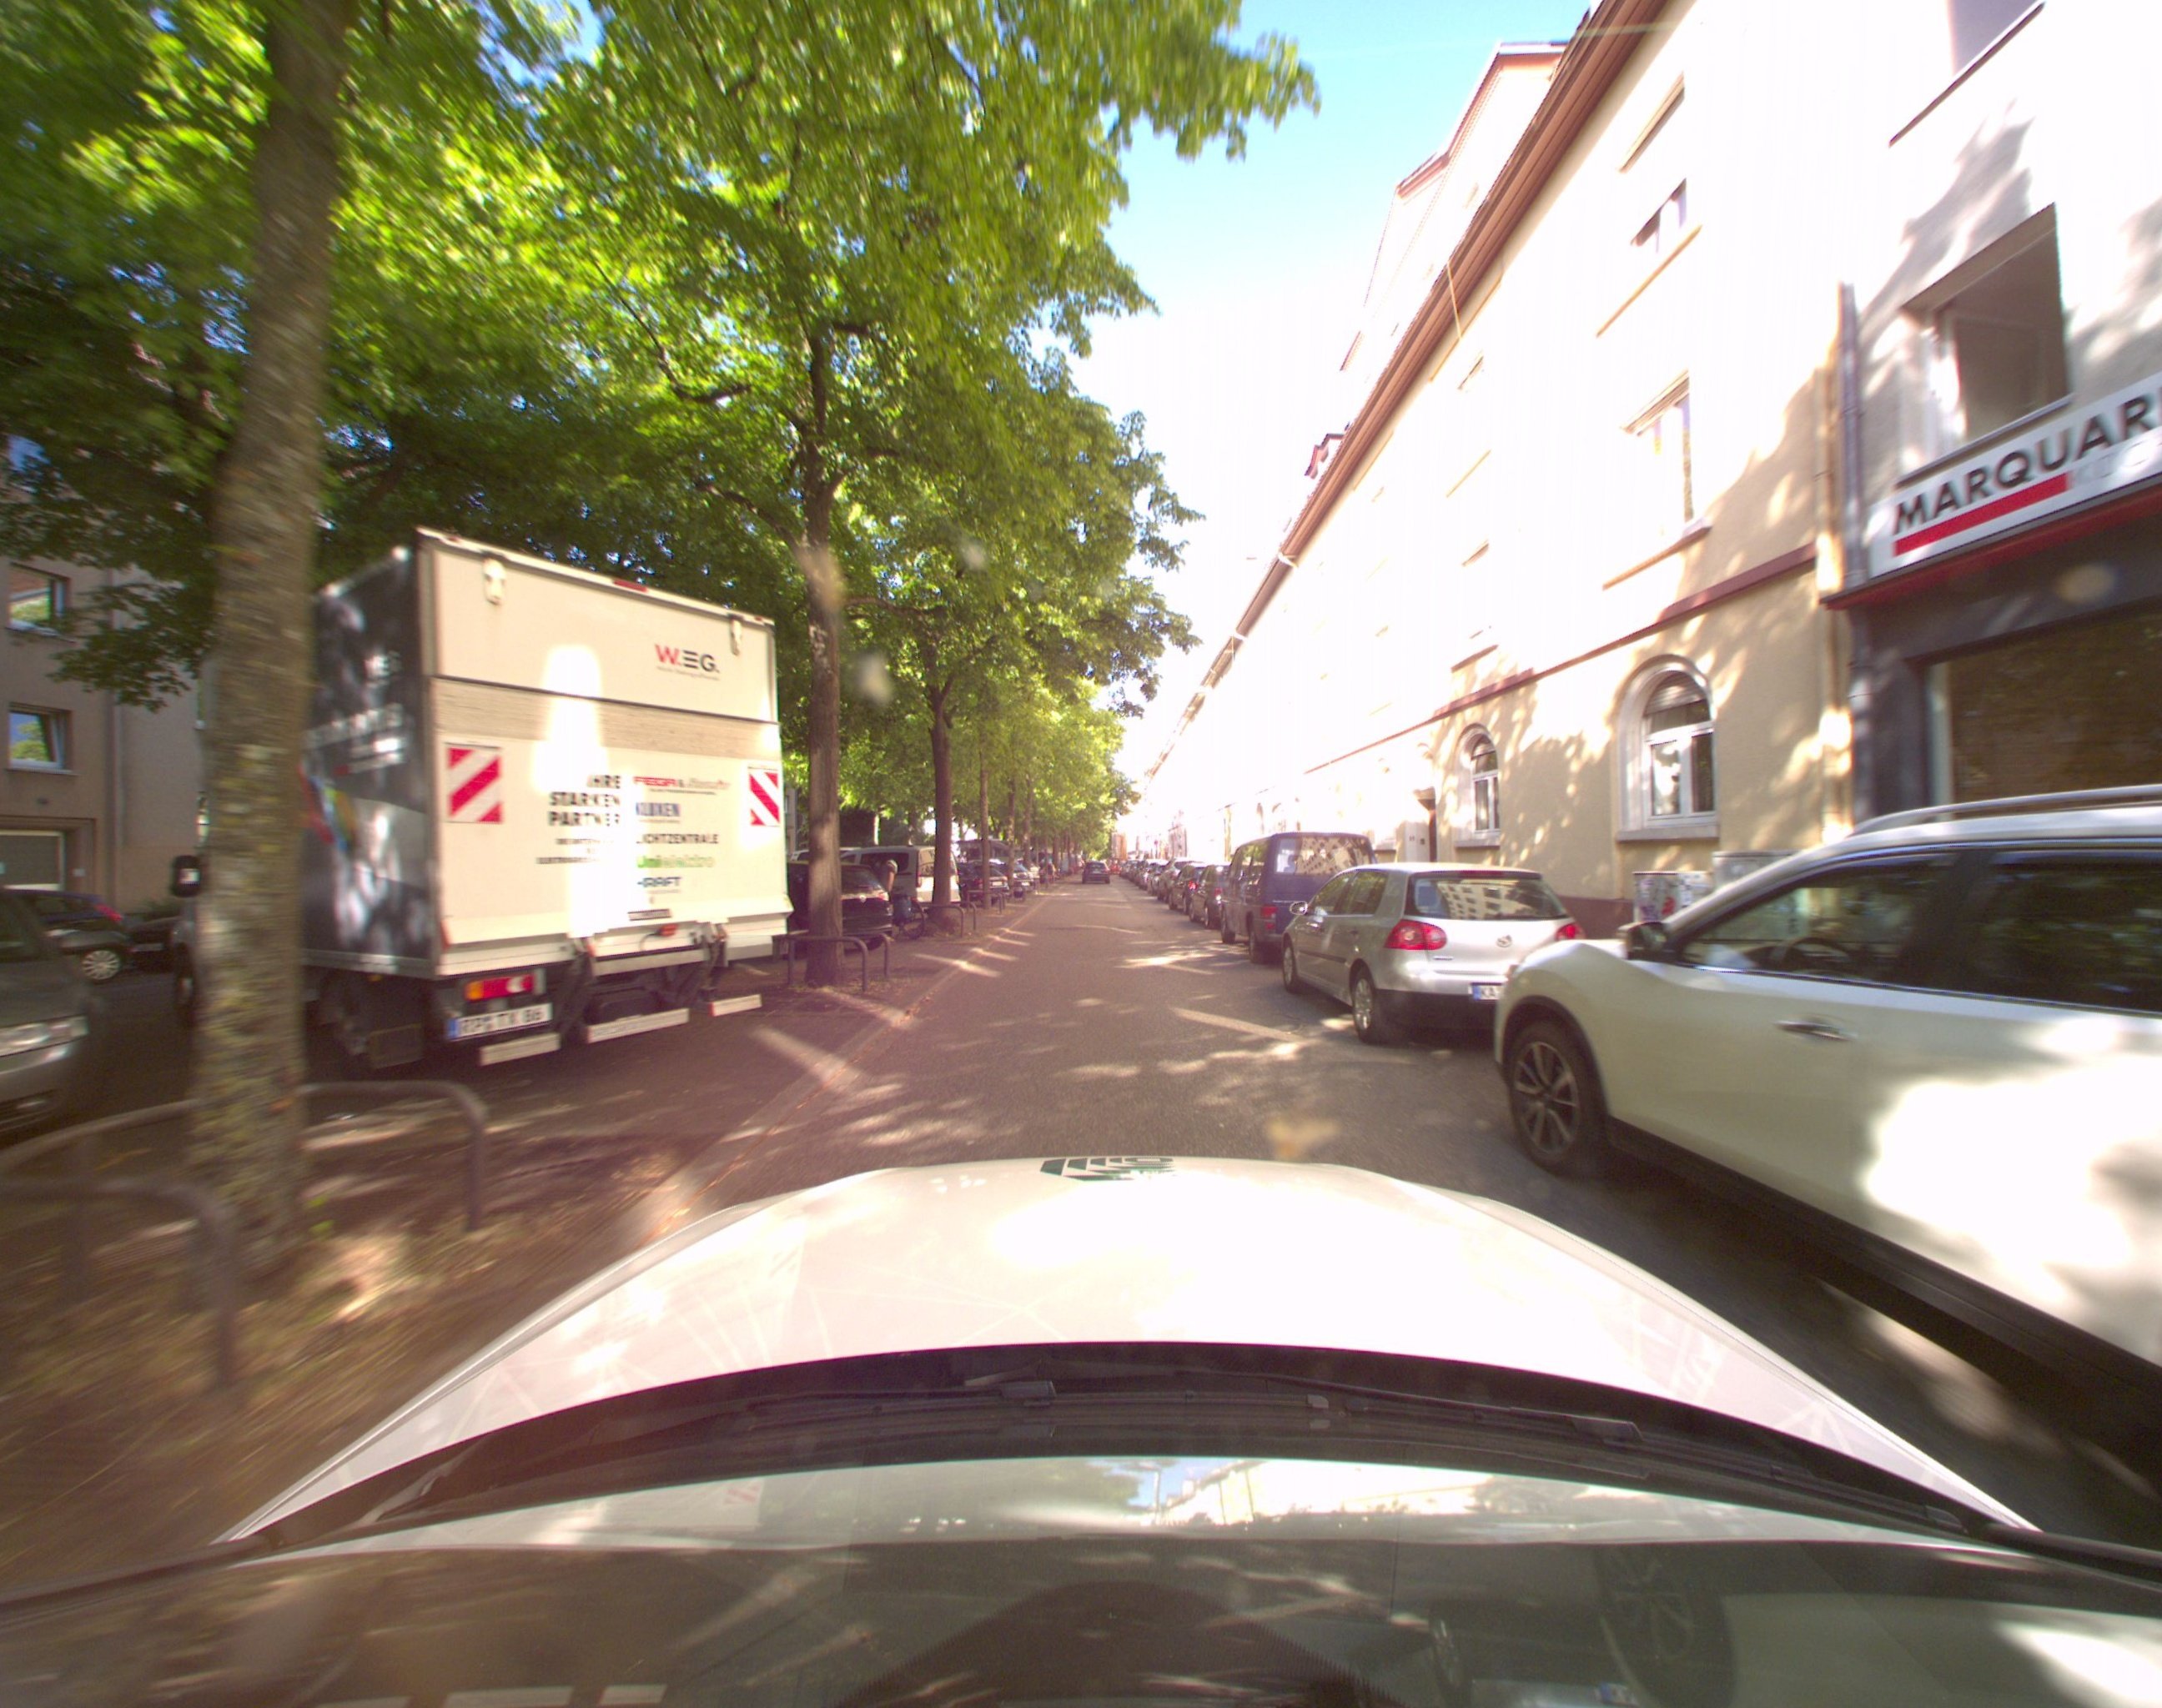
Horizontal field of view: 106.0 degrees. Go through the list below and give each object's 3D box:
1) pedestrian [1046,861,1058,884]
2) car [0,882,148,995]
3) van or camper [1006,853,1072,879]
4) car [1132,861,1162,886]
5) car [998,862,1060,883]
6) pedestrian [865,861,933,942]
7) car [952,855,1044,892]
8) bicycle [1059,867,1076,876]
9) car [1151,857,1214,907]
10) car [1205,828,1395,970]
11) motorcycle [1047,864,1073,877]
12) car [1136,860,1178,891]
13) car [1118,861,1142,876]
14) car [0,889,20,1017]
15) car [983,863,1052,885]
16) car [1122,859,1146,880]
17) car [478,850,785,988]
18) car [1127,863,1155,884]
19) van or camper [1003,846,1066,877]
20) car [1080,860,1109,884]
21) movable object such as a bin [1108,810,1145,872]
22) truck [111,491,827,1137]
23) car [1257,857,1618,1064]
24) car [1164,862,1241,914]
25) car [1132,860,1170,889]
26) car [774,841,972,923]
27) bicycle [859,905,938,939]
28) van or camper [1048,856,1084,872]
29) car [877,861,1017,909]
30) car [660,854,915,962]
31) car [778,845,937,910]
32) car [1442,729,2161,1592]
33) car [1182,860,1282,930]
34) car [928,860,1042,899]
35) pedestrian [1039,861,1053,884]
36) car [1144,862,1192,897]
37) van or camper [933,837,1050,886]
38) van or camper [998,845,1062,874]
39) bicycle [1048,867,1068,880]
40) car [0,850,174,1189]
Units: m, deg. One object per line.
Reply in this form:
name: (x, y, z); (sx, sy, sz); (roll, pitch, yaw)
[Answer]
pedestrian: (-1.885, 1.198, 52.644); (0.609, 1.456, 0.522); (-1, -1, 24)
car: (-15.077, 1.165, 10.291); (1.761, 1.435, 4.335); (-2, 0, -5)
van or camper: (-3.777, 1.097, 73.171); (5.448, 2.275, 2.233); (-1, -1, 24)
car: (4.240, 1.241, 52.843); (1.626, 1.534, 3.591); (0, -1, -1)
car: (-3.900, 1.371, 60.561); (4.431, 1.443, 1.743); (-1, -1, 33)
pedestrian: (-3.272, 0.827, 14.677); (0.743, 1.397, 0.934); (-1, -1, 32)
car: (-3.965, 0.916, 38.834); (4.094, 1.679, 1.770); (-1, -1, 29)
bicycle: (-1.447, 1.910, 87.781); (1.879, 1.006, 0.433); (-1, -1, 24)
car: (3.675, 0.983, 30.247); (1.718, 1.686, 4.155); (0, -1, -2)
car: (3.343, 0.631, 13.489); (1.941, 1.901, 4.846); (-1, -1, 1)
motorcycle: (-2.098, 1.654, 81.340); (2.535, 1.259, 0.764); (-1, -1, 8)
car: (3.879, 1.069, 42.333); (1.717, 1.528, 4.156); (0, -1, -1)
car: (4.650, 1.329, 77.417); (1.987, 1.409, 4.500); (0, 0, 0)
car: (-11.863, 1.023, 6.228); (1.759, 1.294, 4.409); (-2, -1, -2)
car: (-4.195, 1.300, 53.435); (4.275, 1.424, 1.685); (-1, -1, 27)
car: (4.424, 1.236, 68.110); (1.810, 1.674, 4.674); (-1, -1, 1)
car: (-5.984, 0.732, 10.761); (3.948, 1.503, 1.860); (0, -1, 32)
car: (4.205, 1.336, 57.256); (1.626, 1.413, 4.087); (0, -1, -1)
van or camper: (-5.180, 0.864, 90.543); (6.593, 3.241, 2.511); (-1, -1, 29)
car: (0.851, 1.153, 53.167); (1.791, 1.504, 3.585); (-1, 0, 0)
movable object such as a bin: (5.131, -1.424, 91.379); (3.445, 6.760, 2.383); (-1, -1, 33)
truck: (-5.743, -0.146, 7.147); (7.231, 3.294, 2.563); (-1, -1, 32)
car: (3.076, 0.797, 8.098); (1.756, 1.500, 4.238); (-1, -1, 0)
car: (3.524, 0.952, 24.167); (1.545, 1.394, 3.857); (0, -1, -3)
car: (4.031, 1.174, 47.602); (1.718, 1.597, 4.154); (0, -1, -2)
car: (-5.183, 0.648, 20.310); (4.467, 1.865, 2.093); (0, -1, 26)
bicycle: (-3.405, 1.256, 15.163); (1.593, 0.558, 0.412); (-1, -1, 32)
van or camper: (-2.448, 1.623, 132.195); (5.281, 2.475, 2.308); (-1, -1, 33)
car: (-4.413, 0.970, 26.609); (4.431, 1.455, 1.799); (-1, -1, 32)
car: (-4.808, 0.767, 13.187); (4.055, 1.506, 1.744); (0, -1, 32)
car: (-6.816, 0.722, 24.742); (4.547, 1.832, 2.031); (-2, -2, 30)
car: (3.060, 0.625, 2.607); (1.757, 1.753, 4.508); (0, -1, -1)
car: (3.454, 0.891, 19.206); (1.617, 1.498, 3.593); (0, -1, -1)
car: (-3.835, 0.982, 32.312); (4.366, 1.462, 1.727); (-1, -2, 33)
pedestrian: (-2.254, 1.186, 52.158); (0.703, 1.456, 0.599); (-1, -1, 24)
car: (3.842, 1.096, 36.533); (1.716, 1.432, 4.158); (-1, -1, 1)
van or camper: (-5.686, 0.505, 51.089); (7.158, 2.930, 2.328); (-1, -1, 28)
van or camper: (-4.872, 0.546, 77.437); (5.811, 2.637, 2.269); (-1, -1, 30)
bicycle: (-1.965, 1.666, 69.469); (1.730, 1.006, 0.507); (0, -1, -30)
car: (-6.809, 0.758, 4.516); (4.287, 1.507, 1.825); (-1, -1, 34)
